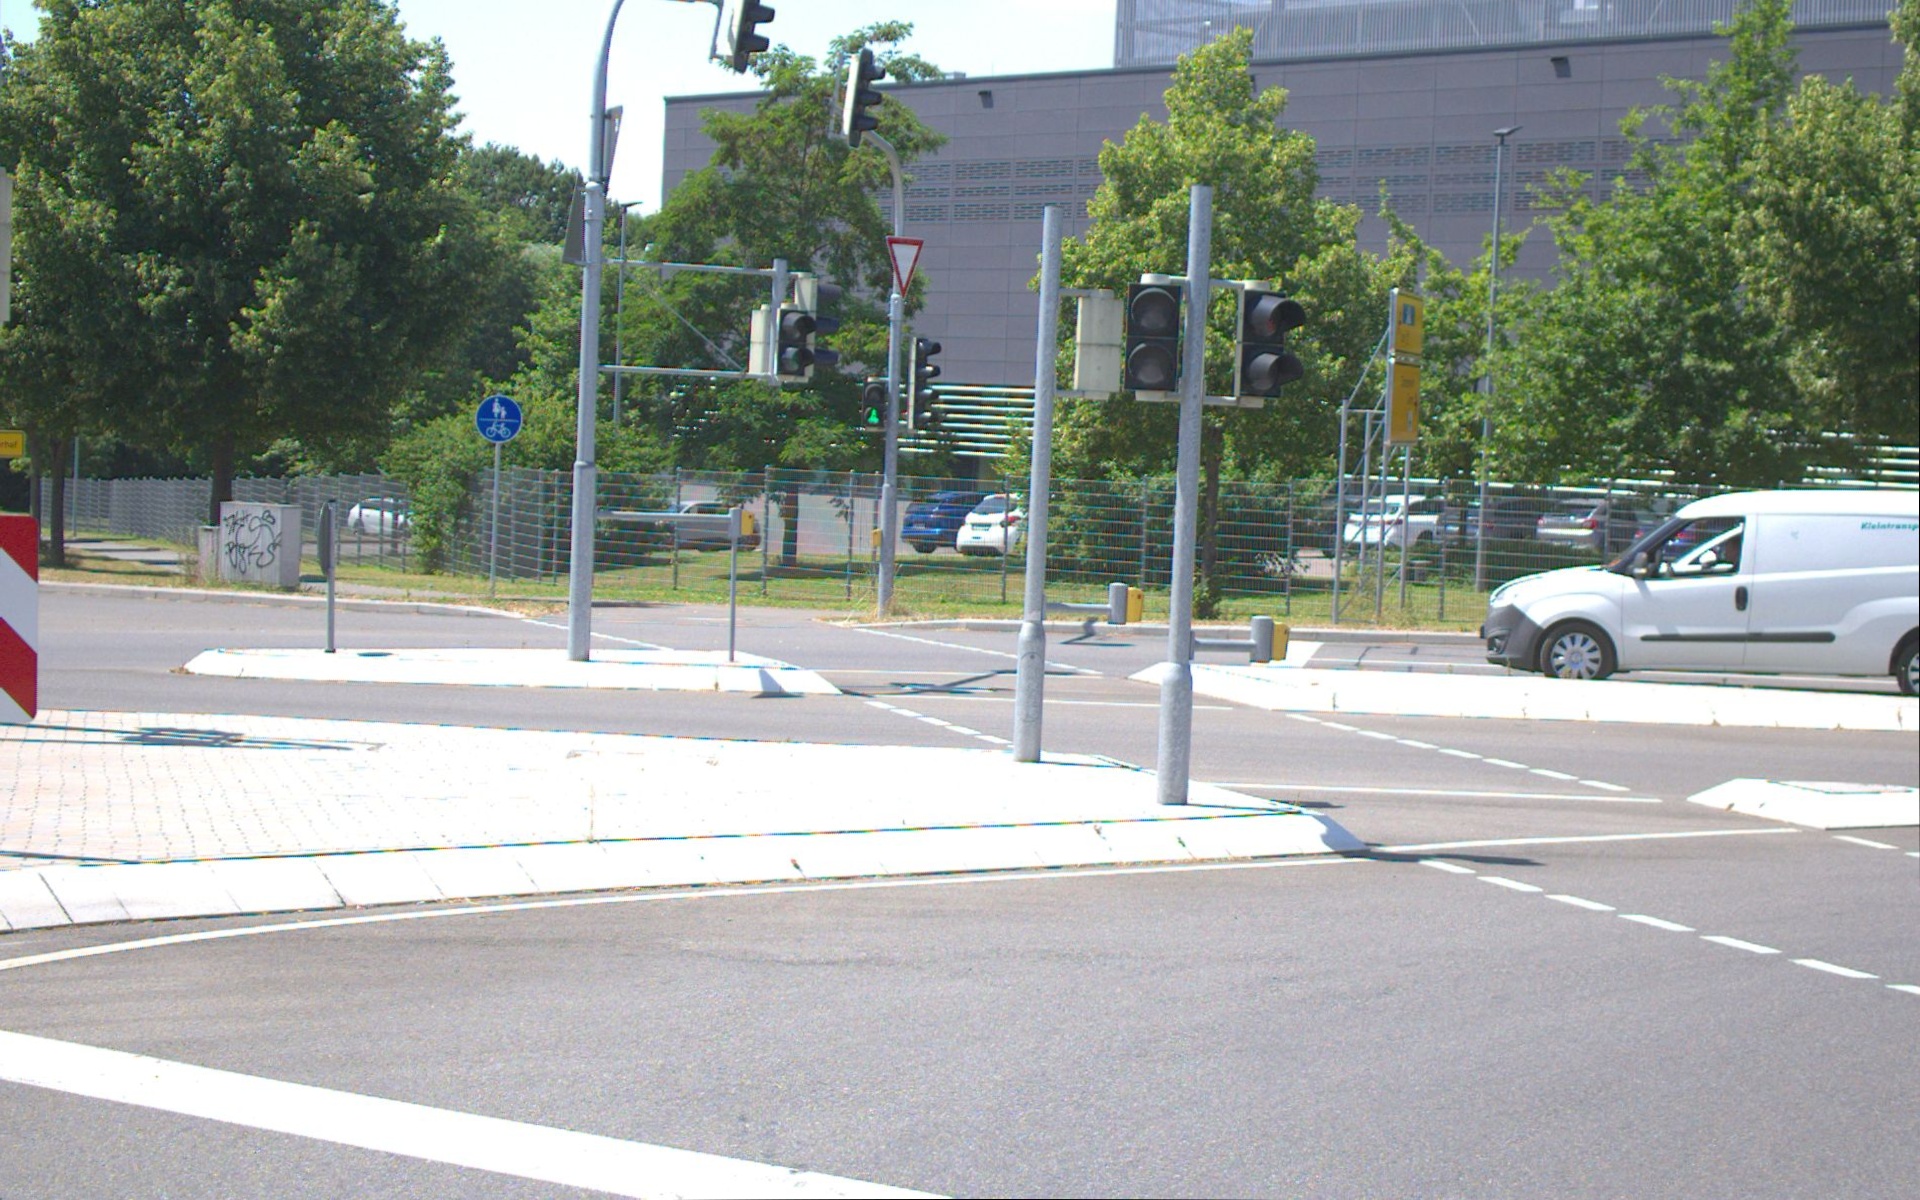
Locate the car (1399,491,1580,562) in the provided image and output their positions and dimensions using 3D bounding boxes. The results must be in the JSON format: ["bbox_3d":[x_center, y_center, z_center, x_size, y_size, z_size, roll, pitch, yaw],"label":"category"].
[{"bbox_3d":[11.796,-1.623,76.412,1.999,1.481,3.989,1,1,45],"label":"car"}]

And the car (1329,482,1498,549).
[{"bbox_3d":[10.370,-1.915,78.436,1.770,1.455,3.989,1,1,45],"label":"car"}]

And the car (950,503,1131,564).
[{"bbox_3d":[1.655,-1.335,69.717,1.614,1.161,3.625,1,1,45],"label":"car"}]

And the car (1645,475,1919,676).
[{"bbox_3d":[8.924,-0.245,34.348,3.855,1.700,1.999,3,6,16],"label":"car"}]

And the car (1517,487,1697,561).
[{"bbox_3d":[14.056,-1.634,74.568,1.919,1.512,3.989,1,1,45],"label":"car"}]

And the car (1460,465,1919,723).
[{"bbox_3d":[7.109,-0.080,30.991,4.859,1.935,1.999,3,6,16],"label":"car"}]

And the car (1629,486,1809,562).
[{"bbox_3d":[15.970,-1.585,72.251,1.819,1.523,3.989,1,1,45],"label":"car"}]

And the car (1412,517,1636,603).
[{"bbox_3d":[10.133,-0.714,61.612,1.999,1.481,3.989,1,1,45],"label":"car"}]

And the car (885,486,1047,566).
[{"bbox_3d":[0.166,-1.927,90.027,1.999,2.007,3.989,1,1,45],"label":"car"}]
